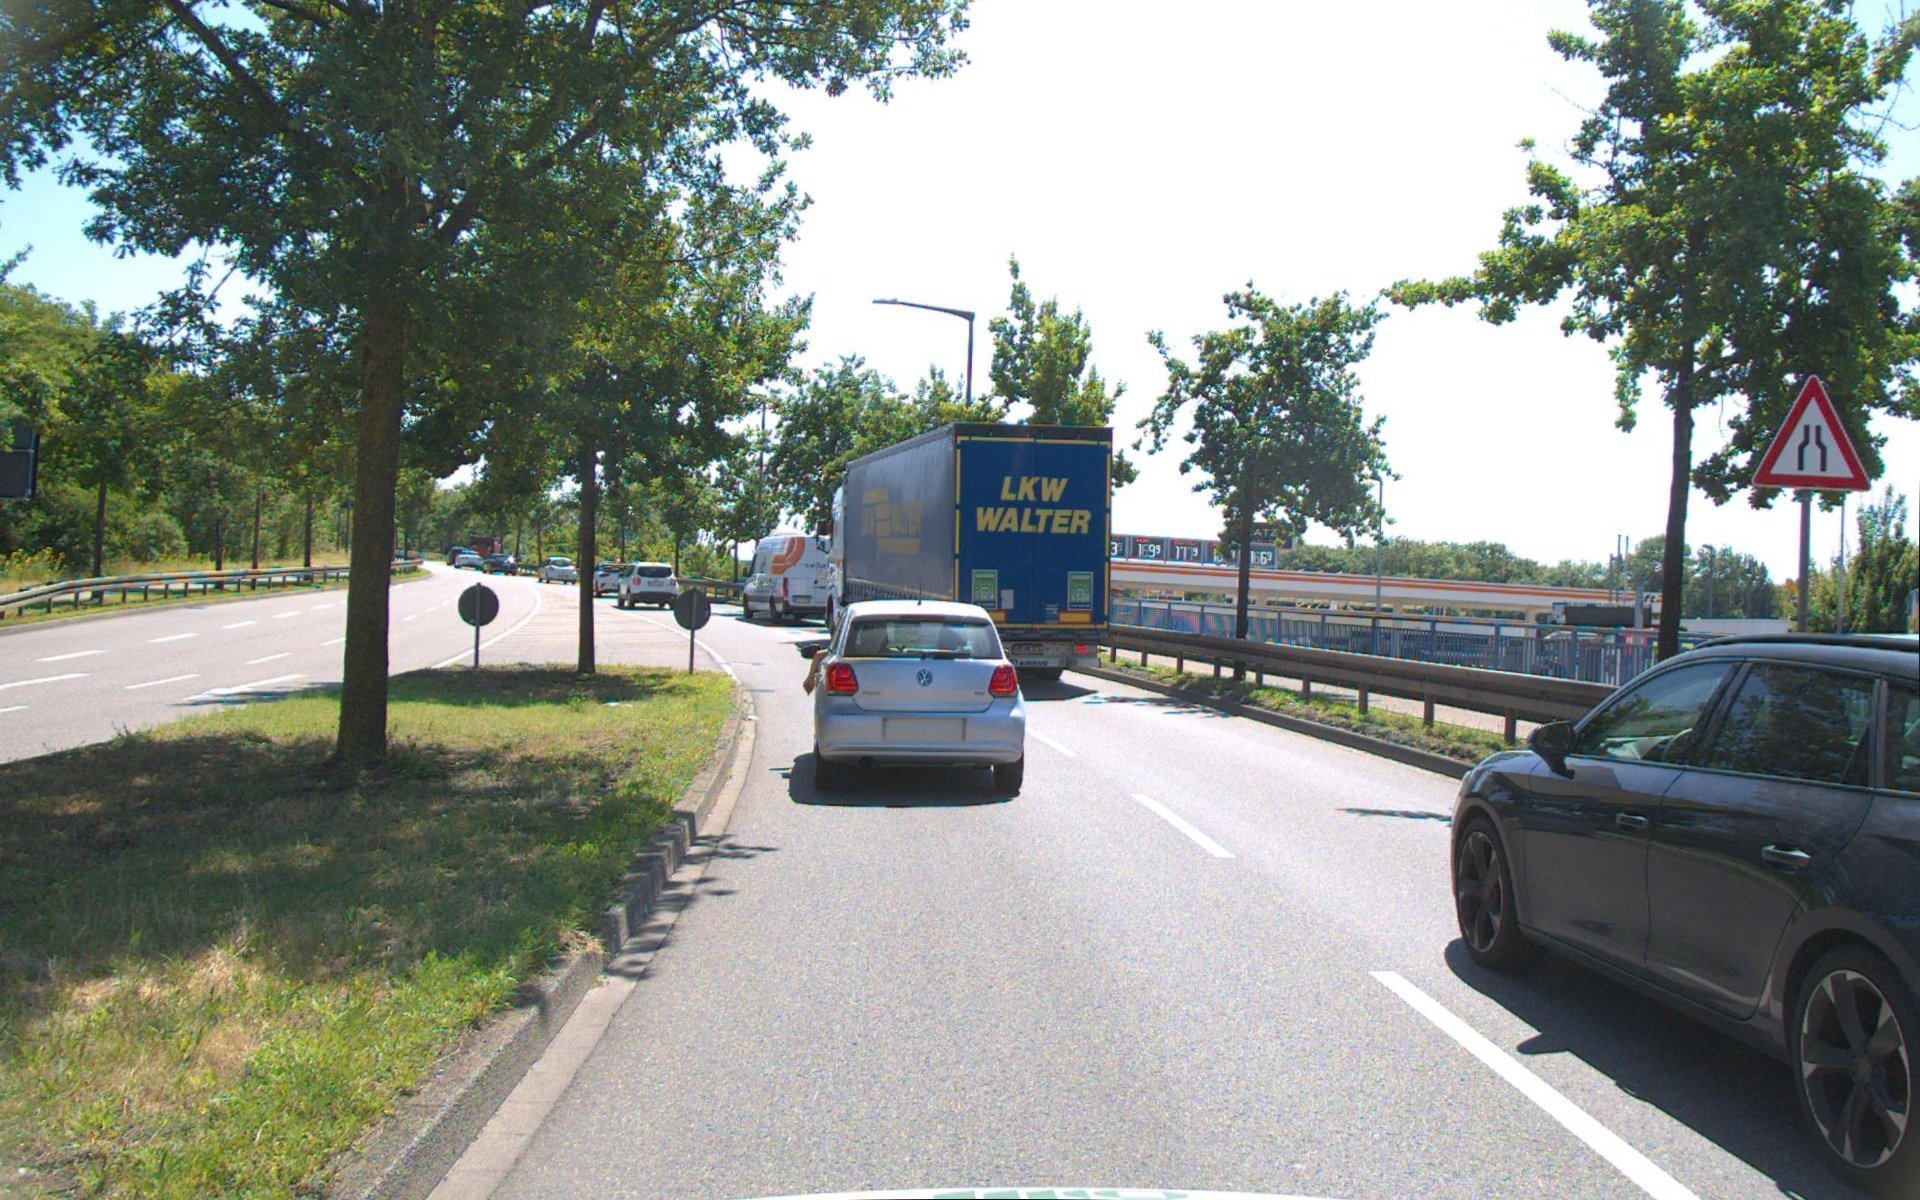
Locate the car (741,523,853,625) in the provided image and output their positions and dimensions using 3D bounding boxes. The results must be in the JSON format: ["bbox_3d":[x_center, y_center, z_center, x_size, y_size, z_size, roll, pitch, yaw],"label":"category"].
[{"bbox_3d":[-5.248,-0.843,52.254,2.142,2.951,6.326,2,1,-18],"label":"car"}]

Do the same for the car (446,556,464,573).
[{"bbox_3d":[-42.748,-3.005,140.057,1.395,1.337,3.322,2,-1,-16],"label":"car"}]

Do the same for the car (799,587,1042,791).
[{"bbox_3d":[-0.449,0.680,13.939,1.615,1.464,3.530,2,-1,-8],"label":"car"}]

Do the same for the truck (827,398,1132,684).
[{"bbox_3d":[-0.324,-0.918,33.339,2.782,4.272,16.429,2,0,-11],"label":"truck"}]

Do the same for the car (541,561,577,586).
[{"bbox_3d":[-23.066,-1.508,95.073,1.584,1.384,3.641,2,0,-20],"label":"car"}]

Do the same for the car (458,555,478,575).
[{"bbox_3d":[-37.654,-2.657,126.580,1.433,1.337,3.621,2,-1,-16],"label":"car"}]

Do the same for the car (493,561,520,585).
[{"bbox_3d":[-31.093,-1.853,113.359,1.638,1.491,3.565,2,-1,-16],"label":"car"}]

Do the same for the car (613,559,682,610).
[{"bbox_3d":[-11.560,-0.552,61.049,1.875,1.748,4.200,2,-1,-19],"label":"car"}]

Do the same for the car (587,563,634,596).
[{"bbox_3d":[-15.561,-0.912,73.629,1.473,1.384,3.640,2,0,-21],"label":"car"}]

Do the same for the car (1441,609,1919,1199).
[{"bbox_3d":[3.109,0.802,5.444,1.573,1.481,4.232,2,-1,-4],"label":"car"}]
